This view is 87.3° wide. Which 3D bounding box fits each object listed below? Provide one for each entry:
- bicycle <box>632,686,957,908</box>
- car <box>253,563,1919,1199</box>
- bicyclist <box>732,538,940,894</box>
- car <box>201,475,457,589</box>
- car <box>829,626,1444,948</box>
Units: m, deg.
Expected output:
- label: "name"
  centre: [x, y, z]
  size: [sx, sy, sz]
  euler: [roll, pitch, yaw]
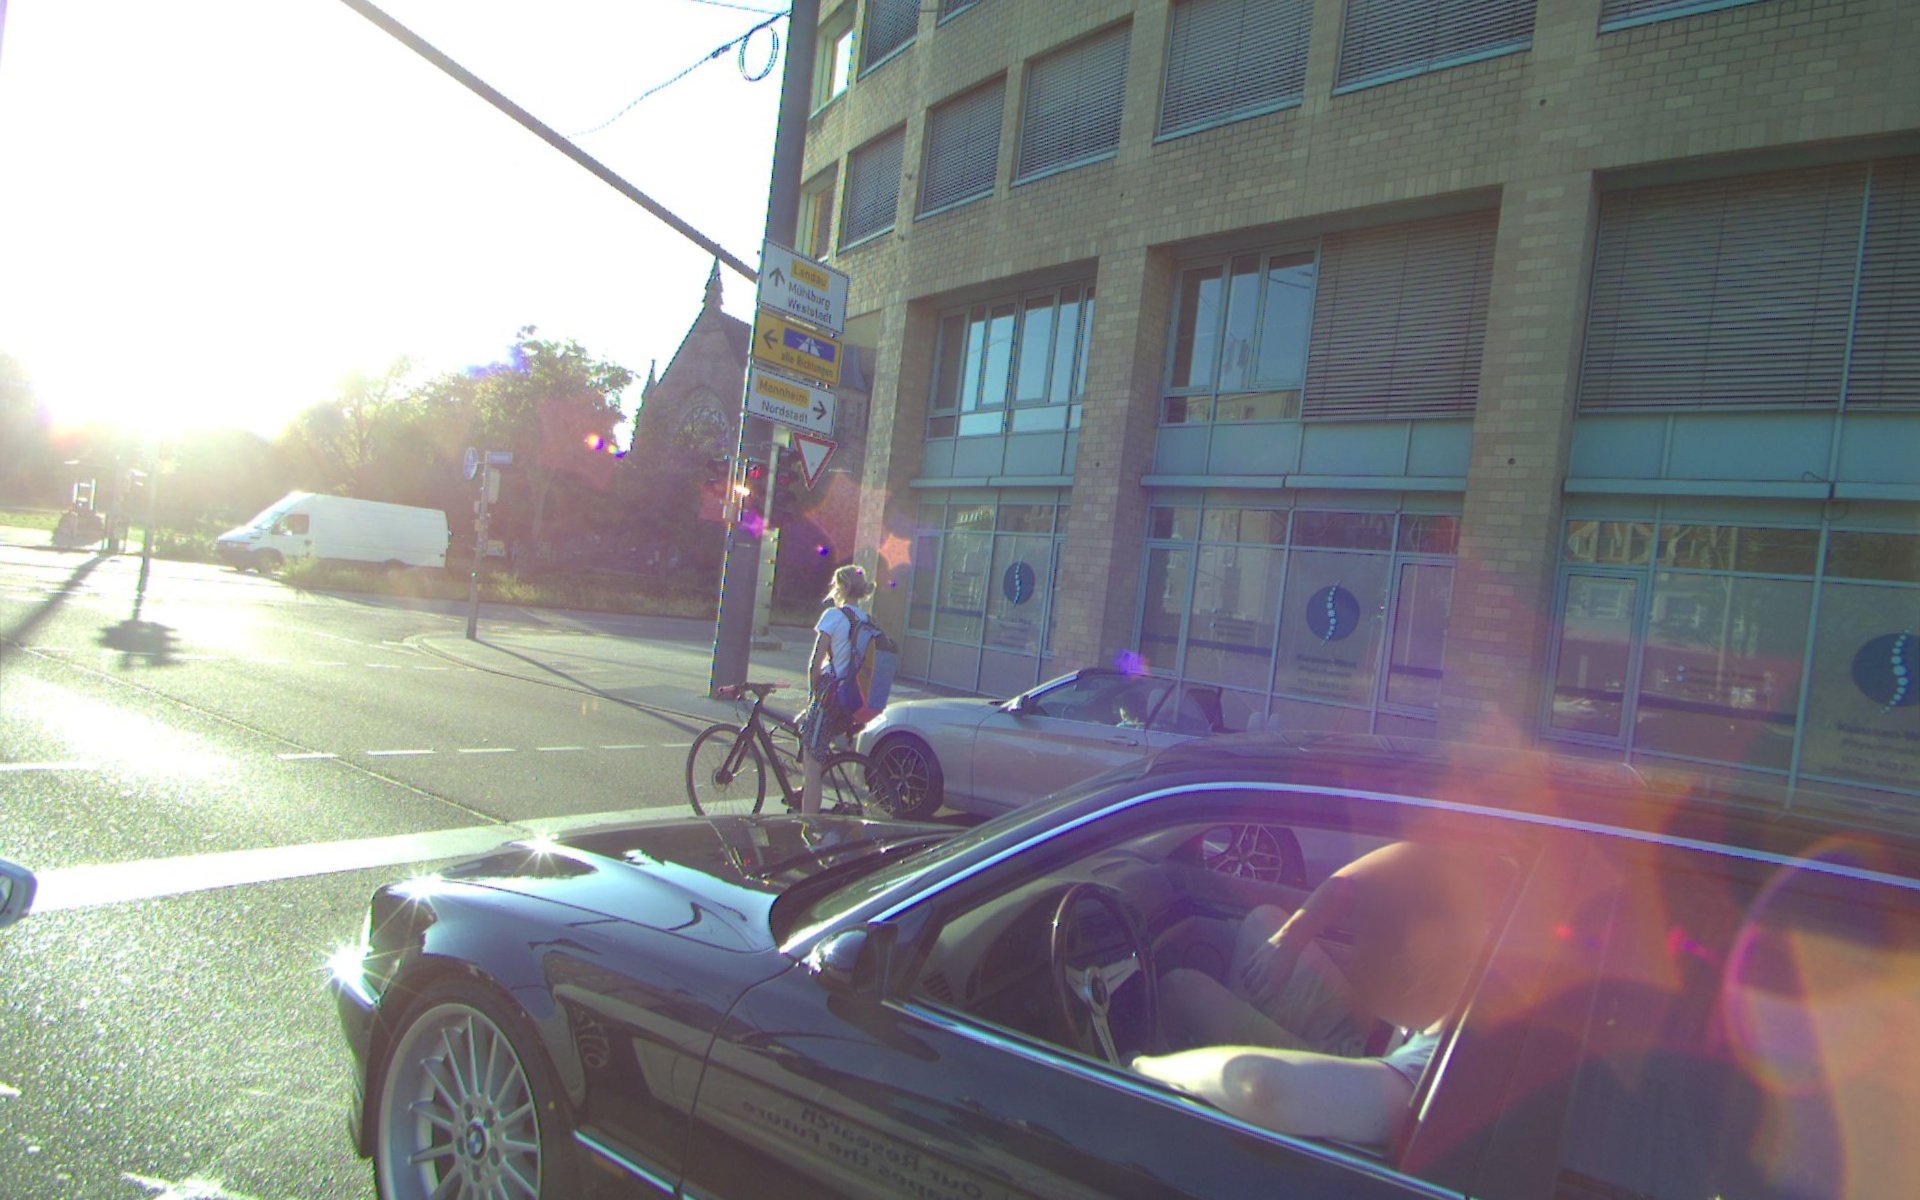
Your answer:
- label: "bicycle"
  centre: [-1.009, 1.085, 5.951]
  size: [1.838, 0.884, 0.634]
  euler: [7, 0, 30]
- label: "car"
  centre: [0.887, 0.933, 2.002]
  size: [4.661, 1.402, 1.997]
  euler: [7, -1, 32]
- label: "bicyclist"
  centre: [-0.706, 0.629, 5.795]
  size: [0.764, 1.843, 0.634]
  euler: [7, 1, 30]
- label: "car"
  centre: [-21.278, -2.192, 34.415]
  size: [2.059, 2.862, 7.017]
  euler: [7, 0, 33]
- label: "car"
  centre: [1.243, 1.196, 7.678]
  size: [4.157, 1.401, 1.747]
  euler: [7, -1, 31]
